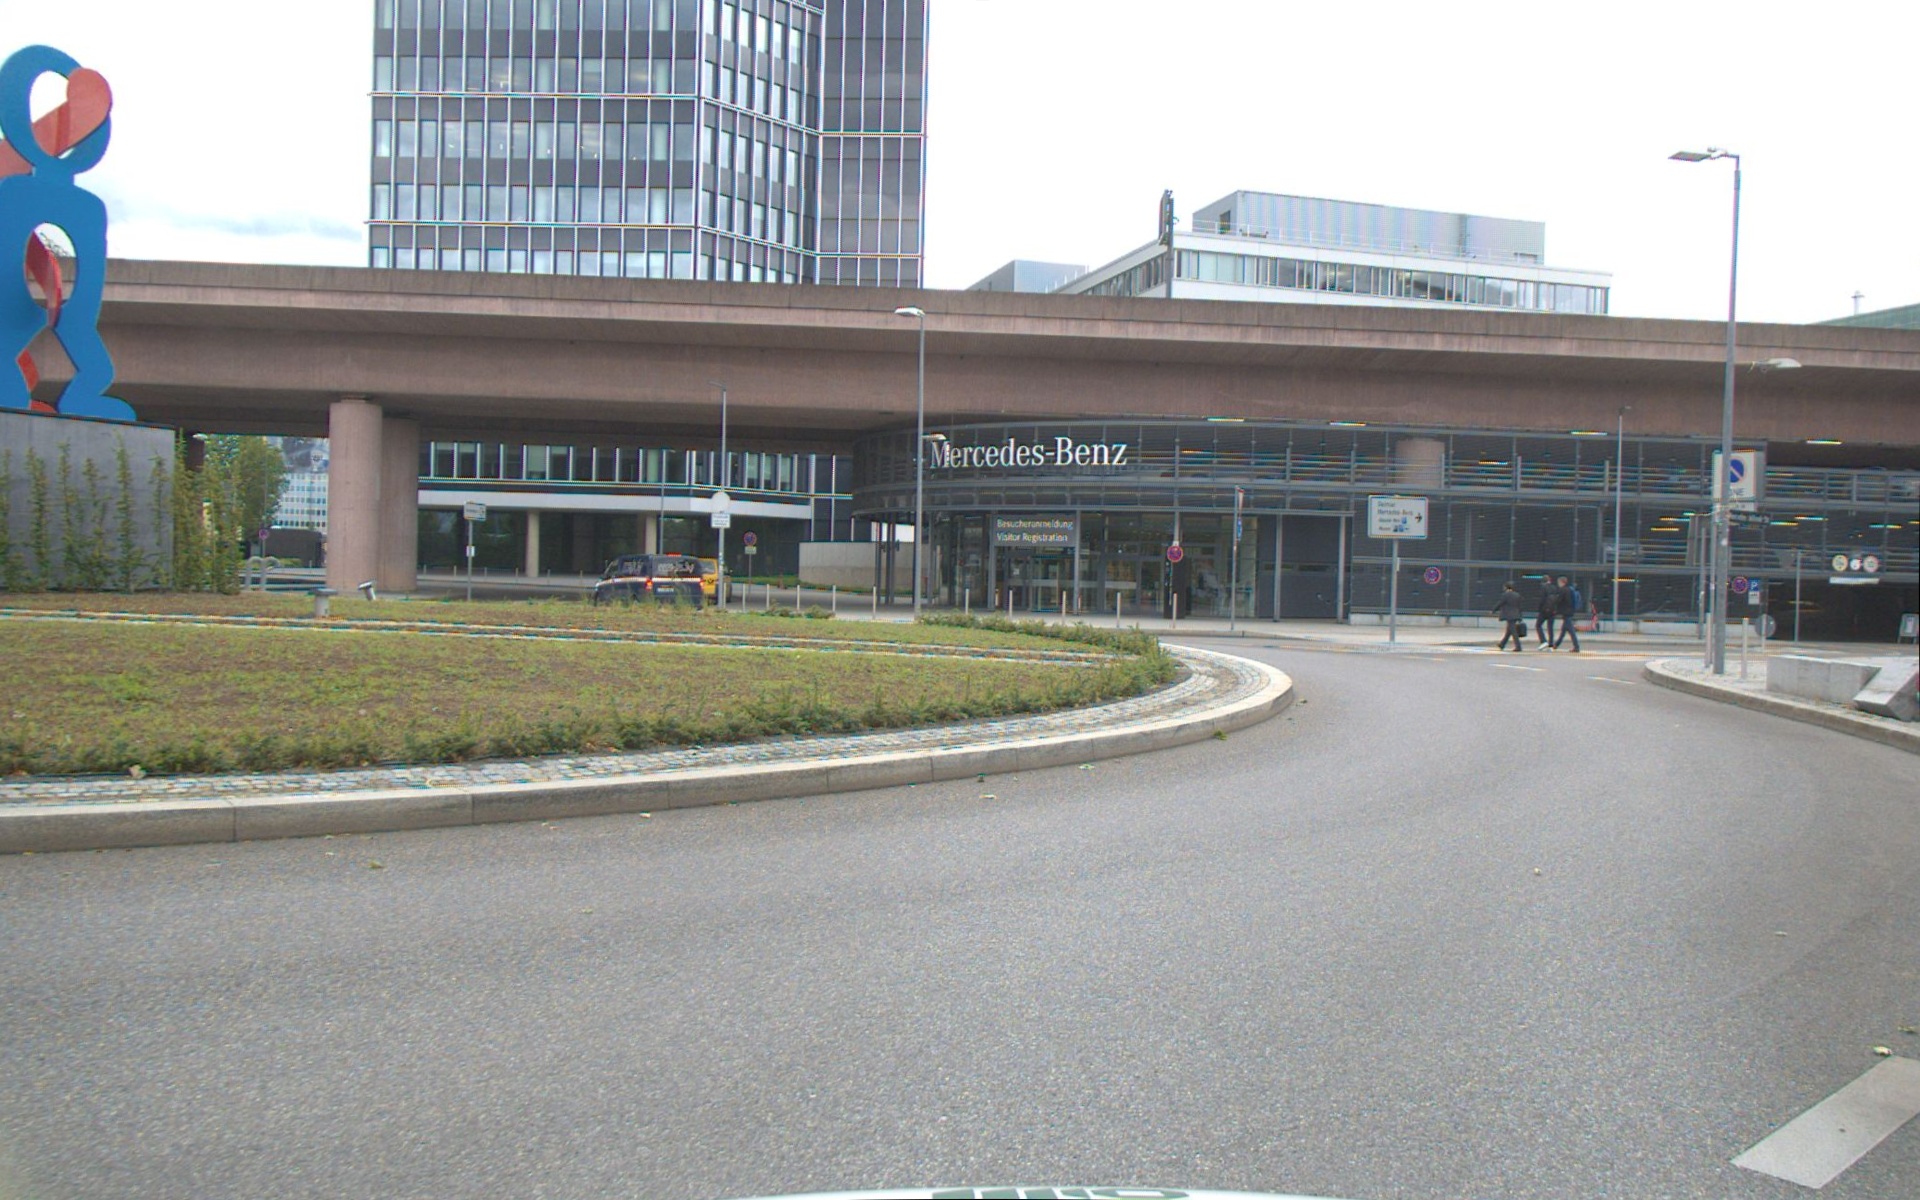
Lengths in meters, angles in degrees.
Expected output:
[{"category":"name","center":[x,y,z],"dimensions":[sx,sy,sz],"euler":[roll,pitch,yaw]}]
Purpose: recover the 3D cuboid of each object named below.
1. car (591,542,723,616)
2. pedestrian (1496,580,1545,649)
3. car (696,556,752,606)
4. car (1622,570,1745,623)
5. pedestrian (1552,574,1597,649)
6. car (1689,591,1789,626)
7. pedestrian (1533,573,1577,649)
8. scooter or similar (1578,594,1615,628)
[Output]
[{"category":"car","center":[-9.104,-0.636,49.390],"dimensions":[2.254,2.049,4.731],"euler":[2,0,-32]},{"category":"pedestrian","center":[13.230,0.331,39.057],"dimensions":[0.816,1.597,0.688],"euler":[2,0,-10]},{"category":"car","center":[-10.244,-0.833,72.134],"dimensions":[1.953,2.049,3.998],"euler":[2,0,-2]},{"category":"car","center":[28.276,-0.152,64.684],"dimensions":[3.908,1.937,1.999],"euler":[2,1,-4]},{"category":"pedestrian","center":[14.883,0.278,40.095],"dimensions":[0.813,1.771,0.690],"euler":[2,0,4]},{"category":"car","center":[38.022,0.406,80.745],"dimensions":[3.908,1.601,1.999],"euler":[2,1,-4]},{"category":"pedestrian","center":[14.195,0.250,39.456],"dimensions":[0.813,1.771,0.691],"euler":[2,0,8]},{"category":"scooter or similar","center":[23.672,0.413,61.503],"dimensions":[1.206,1.215,0.355],"euler":[2,0,-5]}]
